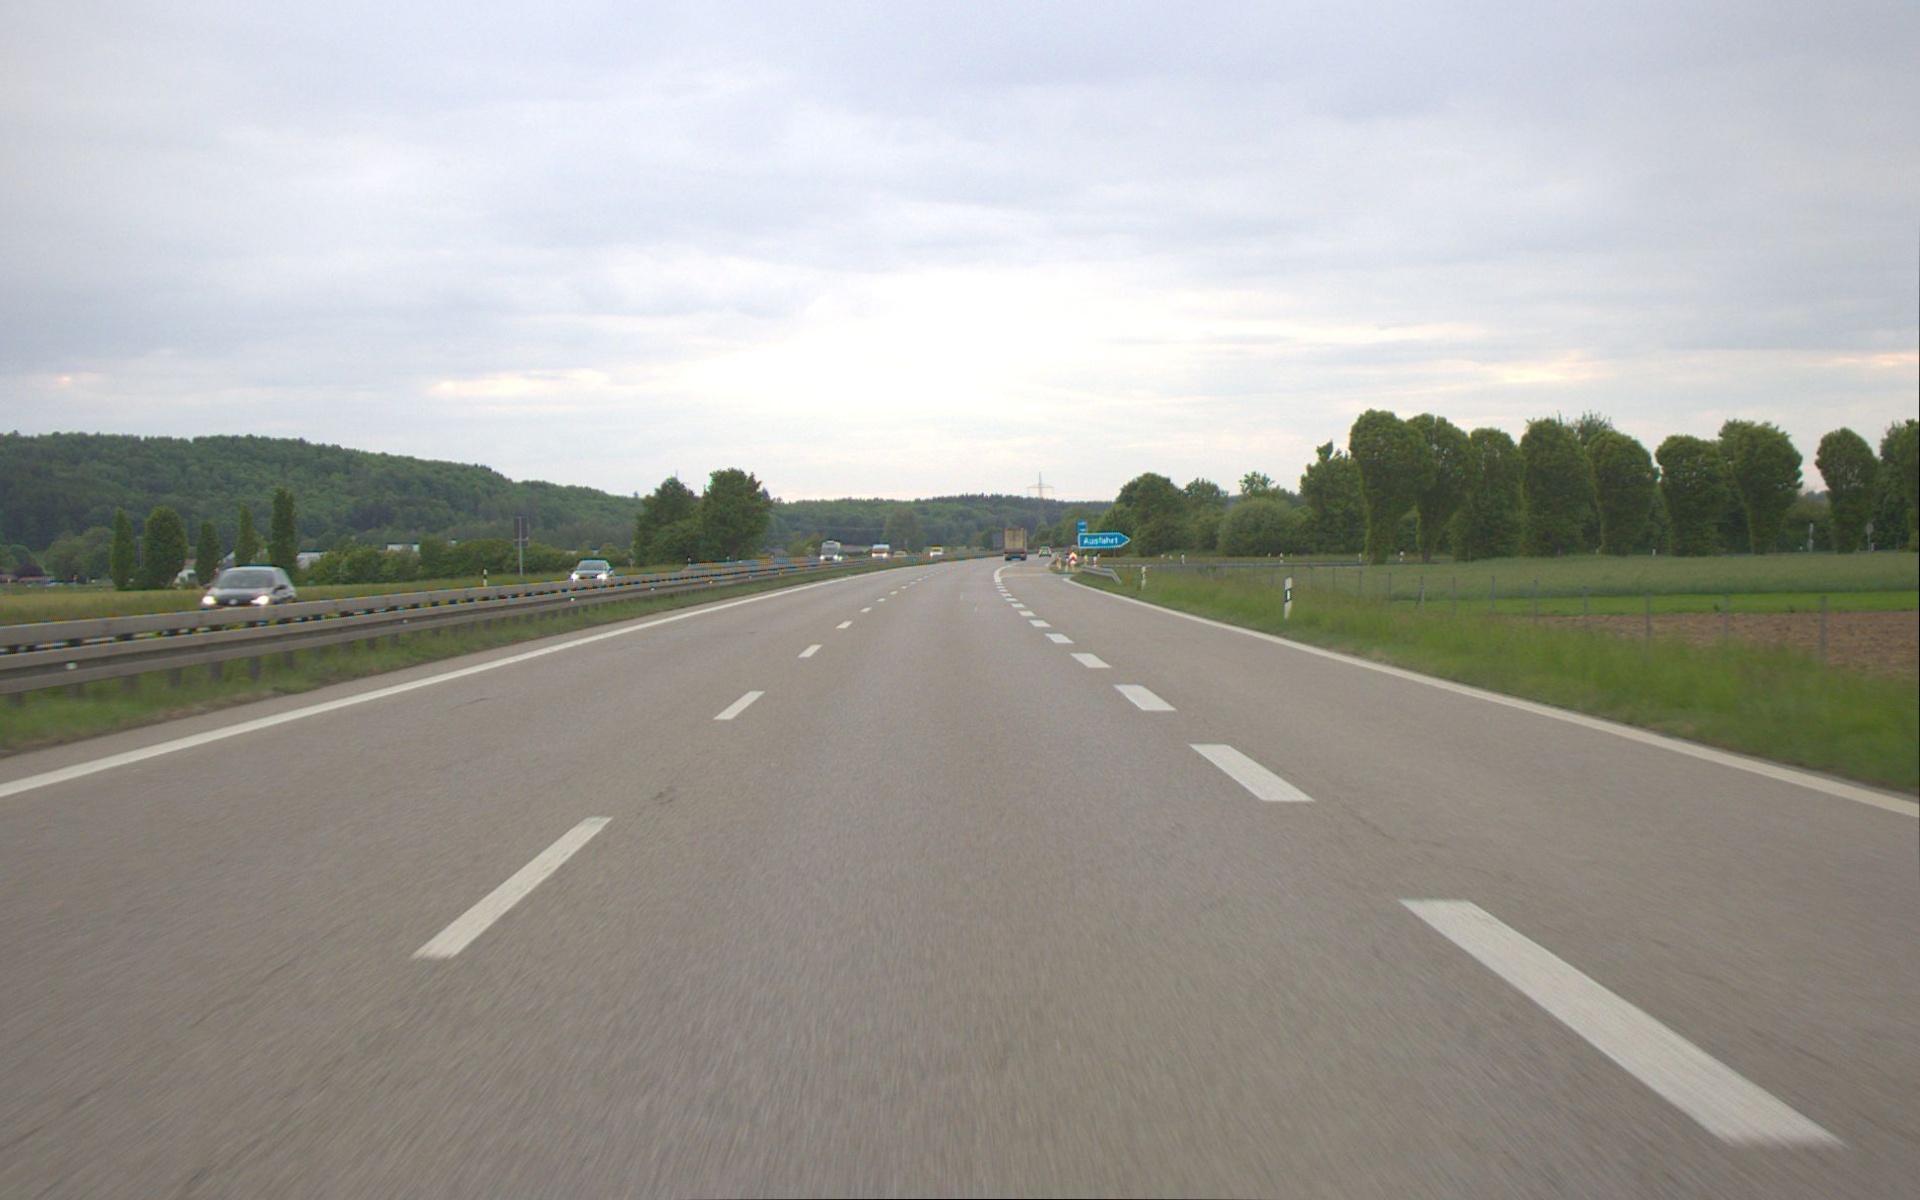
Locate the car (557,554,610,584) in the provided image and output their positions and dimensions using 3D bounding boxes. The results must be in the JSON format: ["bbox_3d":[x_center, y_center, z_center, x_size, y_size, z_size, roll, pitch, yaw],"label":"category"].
[{"bbox_3d":[-17.763,-1.476,162.321,1.993,1.411,4.524,1,1,0],"label":"car"}]

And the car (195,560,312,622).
[{"bbox_3d":[-17.408,-0.242,84.913,1.993,1.475,4.452,1,1,0],"label":"car"}]
